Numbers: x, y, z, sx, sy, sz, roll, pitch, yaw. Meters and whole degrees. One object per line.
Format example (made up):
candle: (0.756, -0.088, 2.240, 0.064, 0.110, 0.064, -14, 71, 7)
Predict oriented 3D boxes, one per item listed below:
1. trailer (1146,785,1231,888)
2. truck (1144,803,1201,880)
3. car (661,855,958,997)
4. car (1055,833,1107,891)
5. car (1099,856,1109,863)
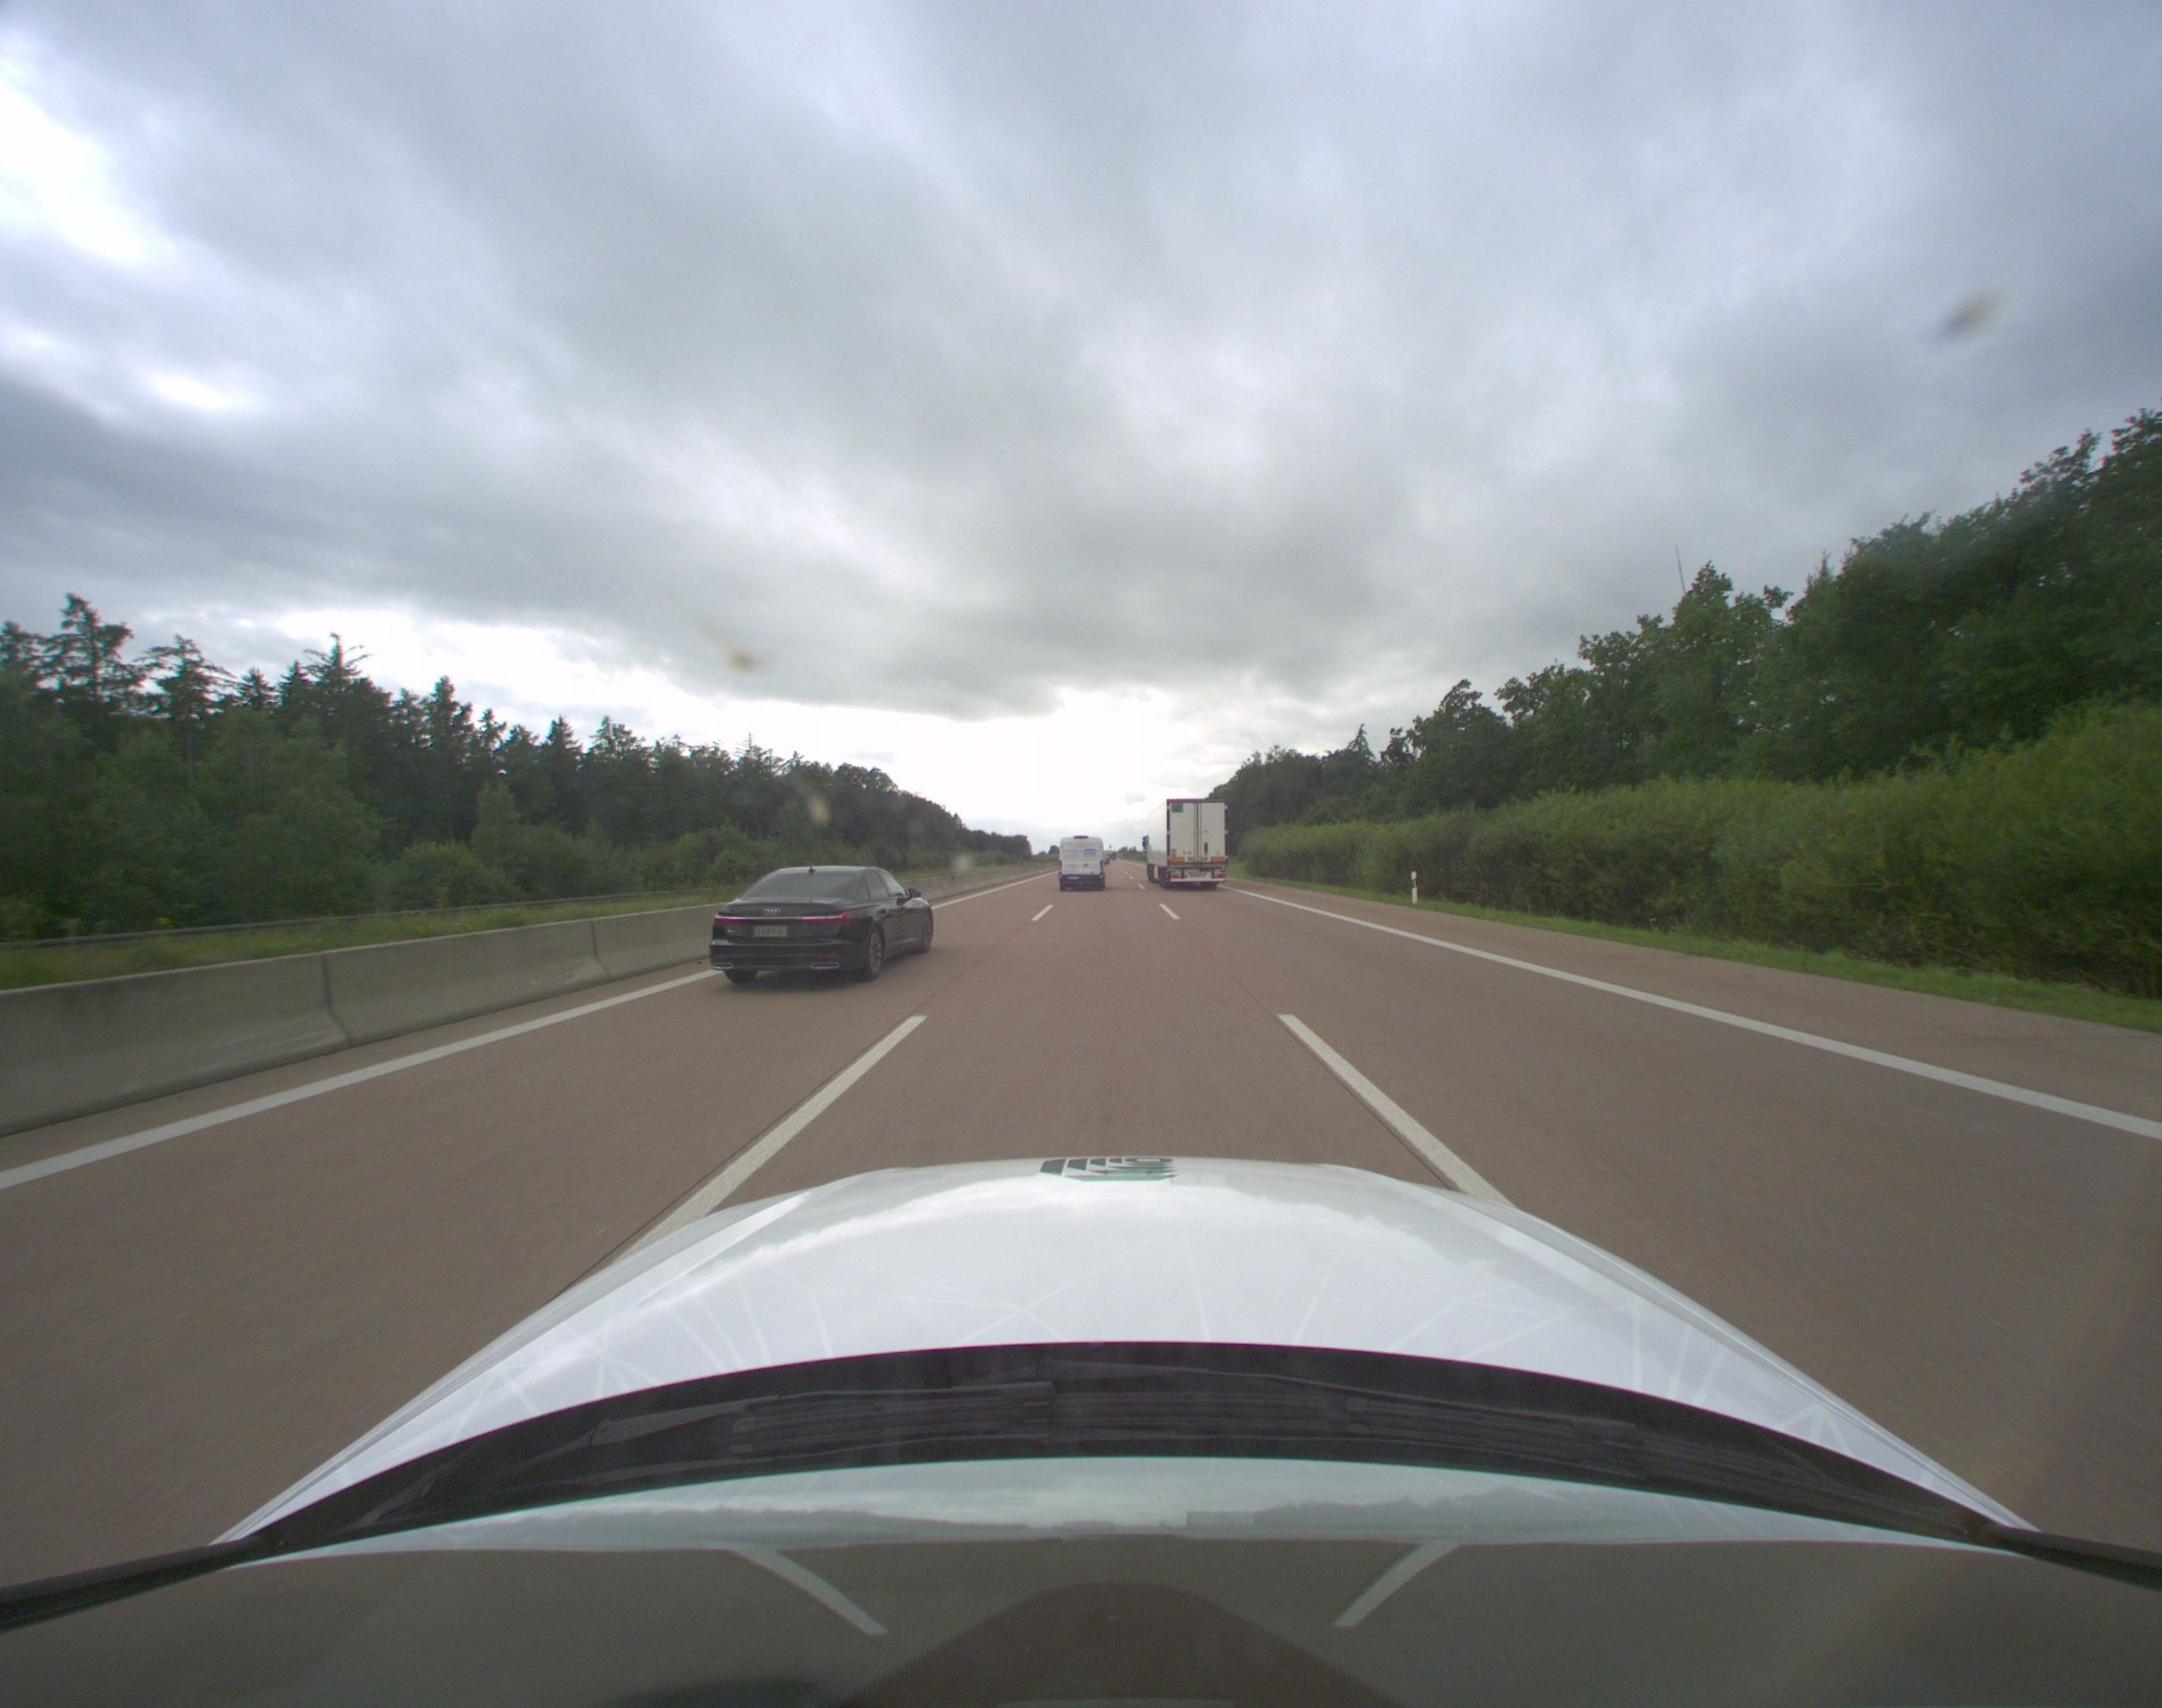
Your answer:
trailer: (5.054, -0.704, 40.950, 2.910, 4.294, 13.620, -1, 0, 2)
truck: (5.335, -0.710, 48.472, 2.910, 4.294, 5.337, -1, 0, 2)
car: (-3.451, 0.799, 11.880, 2.076, 1.550, 5.680, 0, 0, 4)
car: (0.111, 0.318, 39.101, 2.129, 2.507, 7.135, -1, 0, 2)
car: (5.068, 1.182, 177.825, 2.154, 1.451, 4.723, 0, 0, 4)
